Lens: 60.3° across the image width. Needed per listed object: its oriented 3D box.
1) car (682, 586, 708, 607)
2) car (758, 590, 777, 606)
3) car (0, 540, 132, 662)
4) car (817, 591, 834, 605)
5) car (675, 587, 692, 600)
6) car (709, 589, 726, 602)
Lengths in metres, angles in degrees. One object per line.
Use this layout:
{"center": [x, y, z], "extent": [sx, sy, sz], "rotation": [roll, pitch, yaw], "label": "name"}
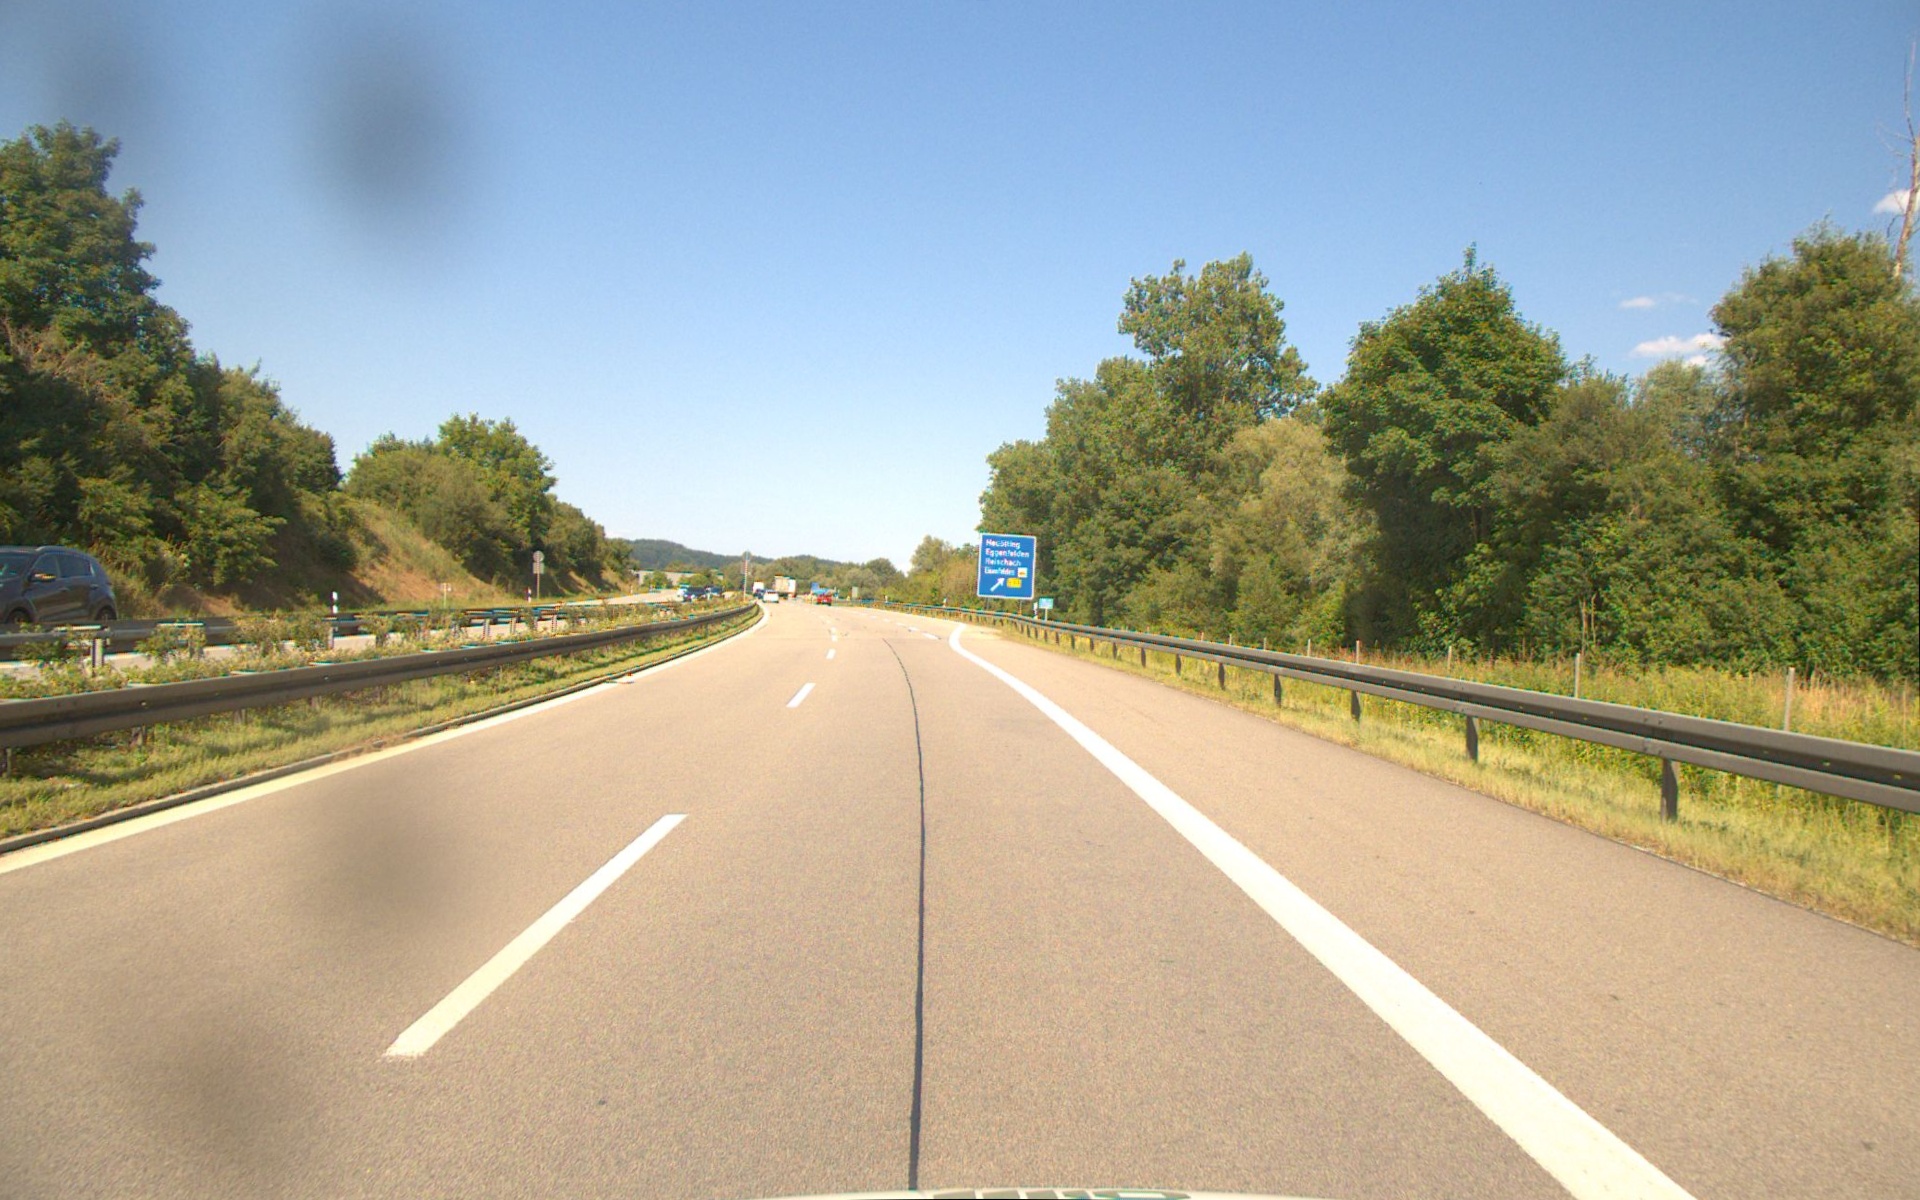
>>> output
{"center": [-20.931, -0.265, 130.915], "extent": [1.612, 1.480, 4.902], "rotation": [1, -1, -5], "label": "car"}
{"center": [-22.381, -0.244, 192.393], "extent": [2.023, 1.653, 3.992], "rotation": [2, -2, -8], "label": "car"}
{"center": [-14.329, 0.012, 24.632], "extent": [1.954, 1.680, 4.431], "rotation": [0, 0, -3], "label": "car"}
{"center": [-16.571, -0.274, 204.436], "extent": [1.748, 1.456, 3.998], "rotation": [6, -1, -1], "label": "car"}
{"center": [-33.815, -0.815, 202.235], "extent": [1.804, 1.464, 4.406], "rotation": [2, 0, -7], "label": "car"}
{"center": [-29.509, -0.510, 201.263], "extent": [1.955, 1.572, 4.669], "rotation": [1, 0, -7], "label": "car"}
